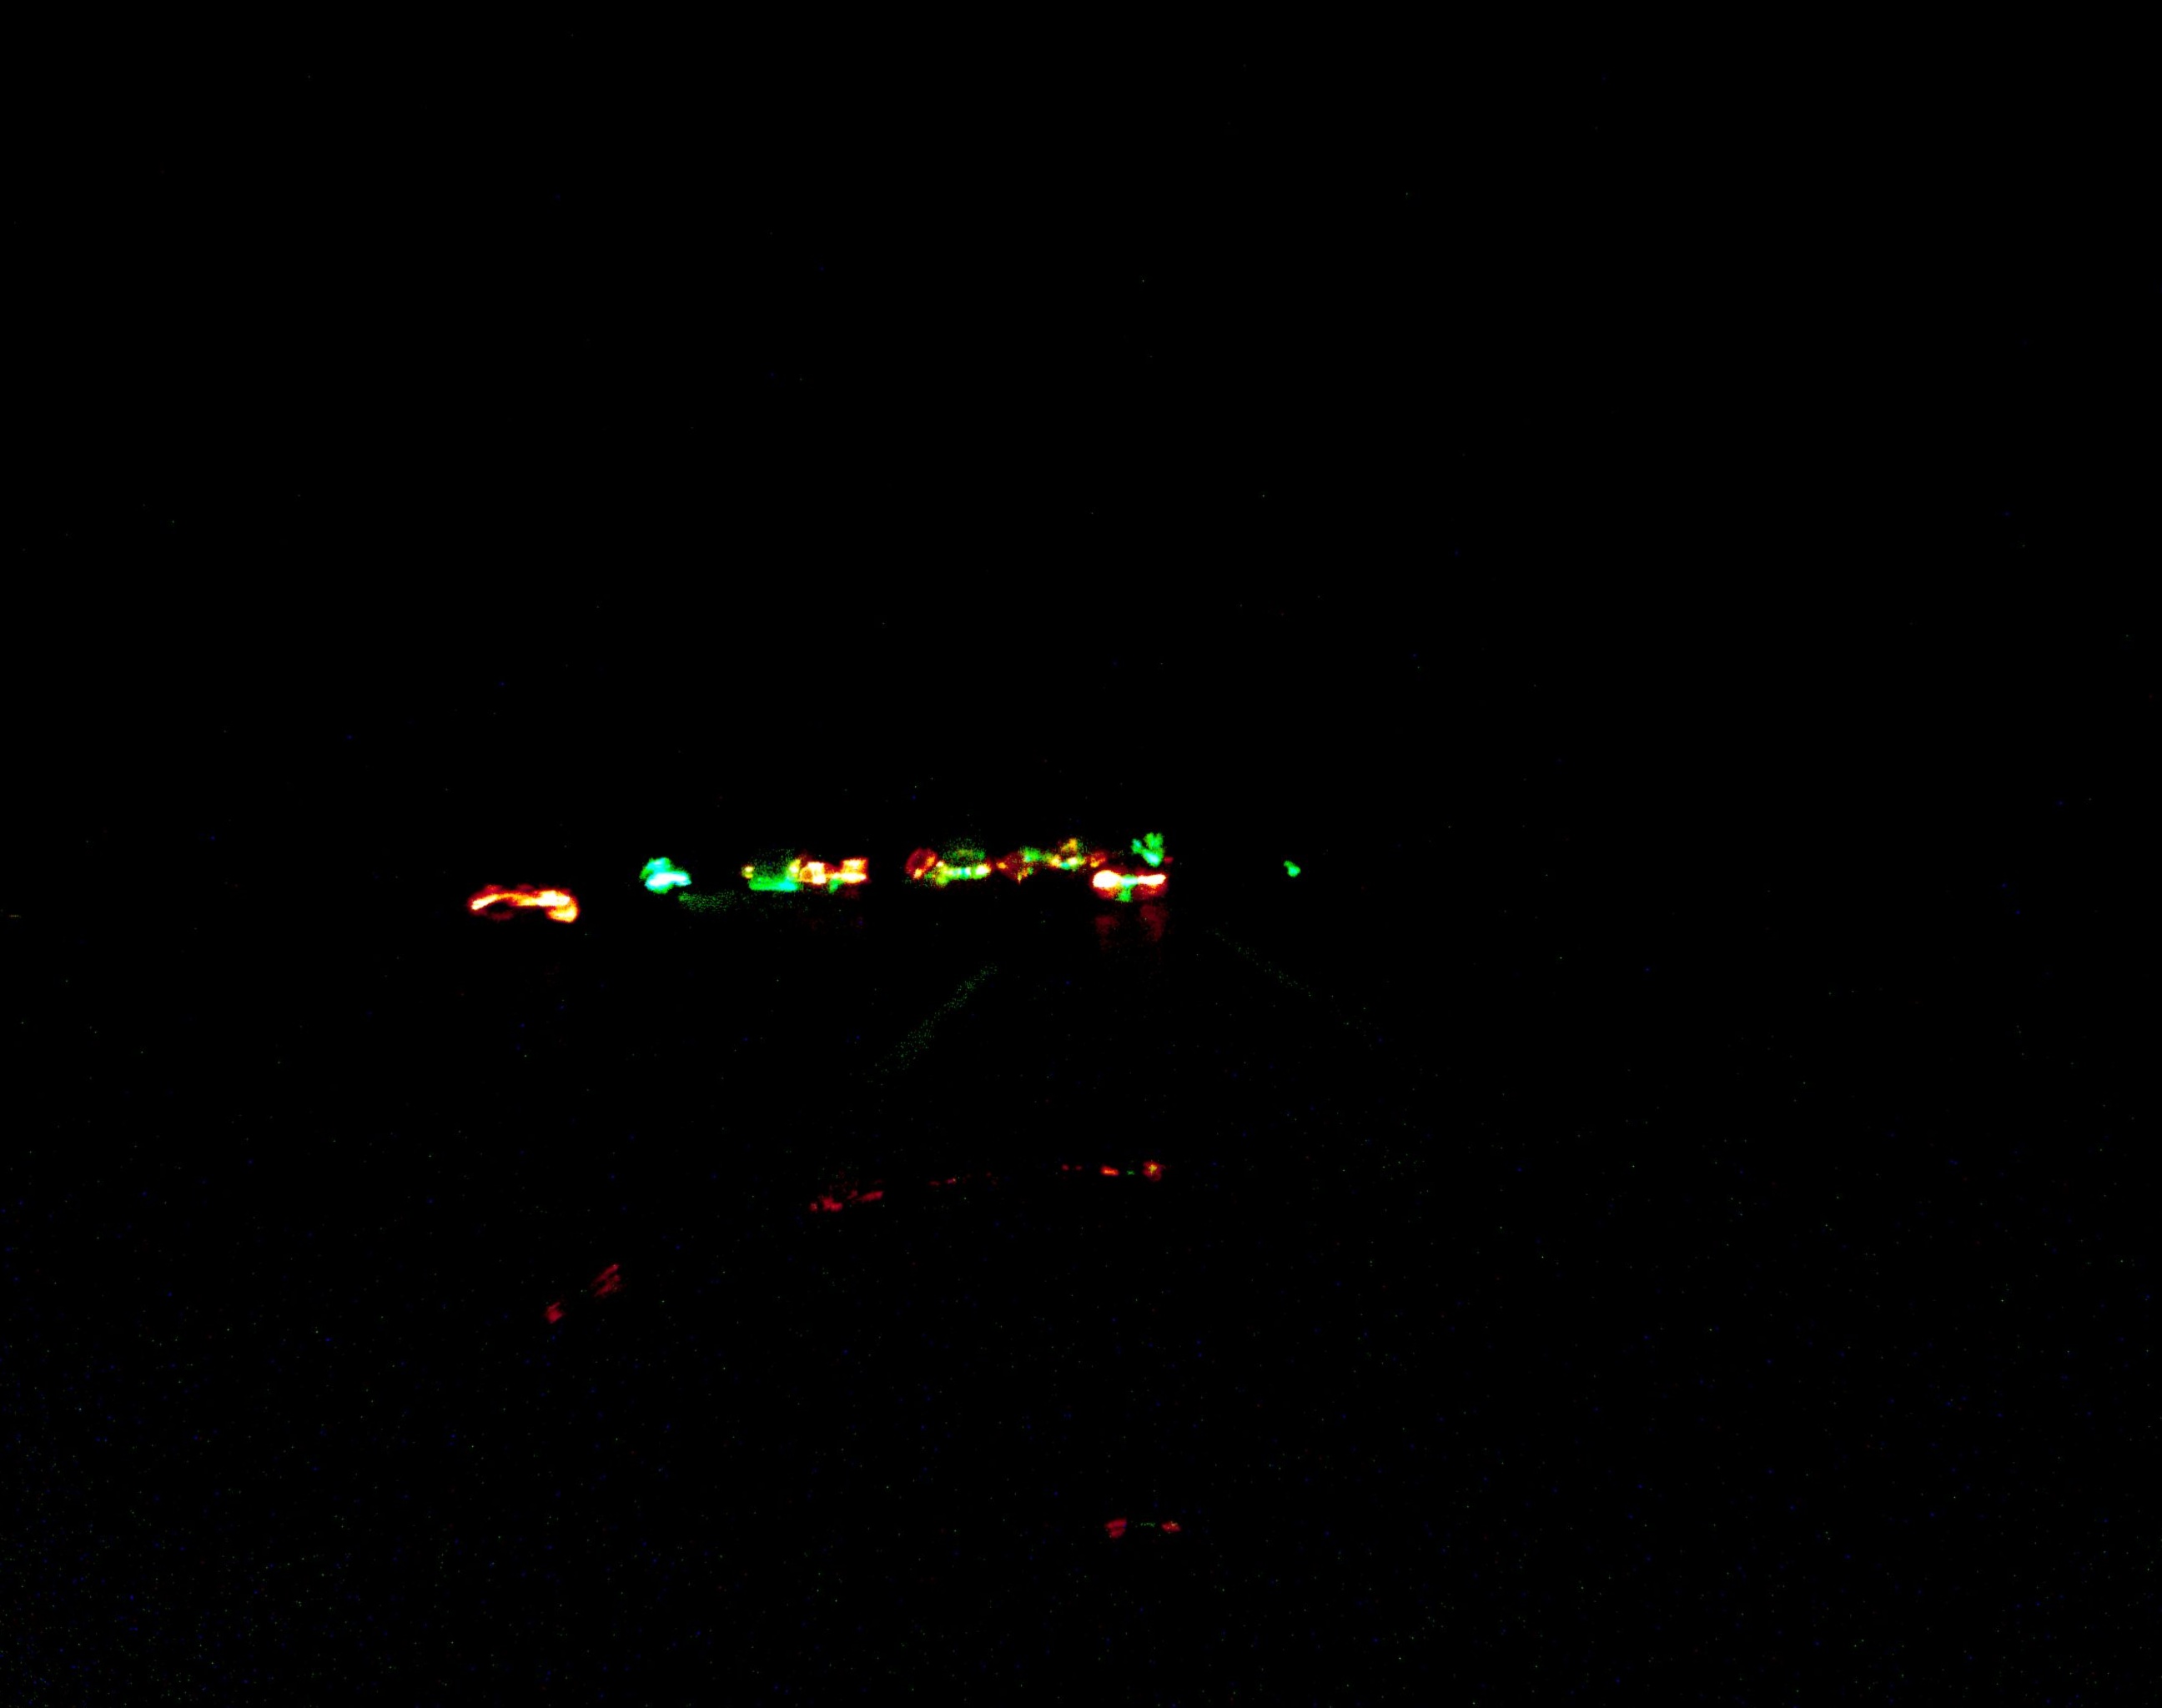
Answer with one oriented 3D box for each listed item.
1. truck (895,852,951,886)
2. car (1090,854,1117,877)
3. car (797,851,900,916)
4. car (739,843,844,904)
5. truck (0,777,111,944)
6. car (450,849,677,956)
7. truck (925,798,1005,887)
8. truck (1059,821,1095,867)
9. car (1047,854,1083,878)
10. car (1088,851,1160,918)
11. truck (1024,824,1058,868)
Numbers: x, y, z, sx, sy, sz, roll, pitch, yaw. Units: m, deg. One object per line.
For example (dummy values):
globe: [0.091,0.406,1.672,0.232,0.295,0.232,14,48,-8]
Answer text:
truck: [-10.900,1.014,56.666,2.849,2.201,5.856,0,0,-1]
car: [1.704,0.855,61.913,1.986,1.704,4.460,0,0,2]
car: [-6.876,0.815,24.607,2.034,1.761,4.510,0,0,-3]
car: [-10.932,0.668,31.290,2.117,2.104,5.626,-1,0,-1]
truck: [-31.360,0.162,15.881,3.397,4.558,17.605,0,0,2]
car: [-9.341,0.769,15.156,1.761,1.689,3.996,-1,1,-2]
truck: [-6.657,-0.580,48.394,3.647,4.737,9.843,0,0,-2]
truck: [-0.520,-1.159,98.662,4.149,5.215,9.949,0,0,-1]
car: [-1.325,0.985,71.482,2.822,2.014,5.513,0,0,2]
car: [1.215,0.815,23.382,1.870,1.762,4.002,0,0,2]
truck: [-5.117,-1.031,106.839,4.243,5.444,10.876,0,0,-2]
